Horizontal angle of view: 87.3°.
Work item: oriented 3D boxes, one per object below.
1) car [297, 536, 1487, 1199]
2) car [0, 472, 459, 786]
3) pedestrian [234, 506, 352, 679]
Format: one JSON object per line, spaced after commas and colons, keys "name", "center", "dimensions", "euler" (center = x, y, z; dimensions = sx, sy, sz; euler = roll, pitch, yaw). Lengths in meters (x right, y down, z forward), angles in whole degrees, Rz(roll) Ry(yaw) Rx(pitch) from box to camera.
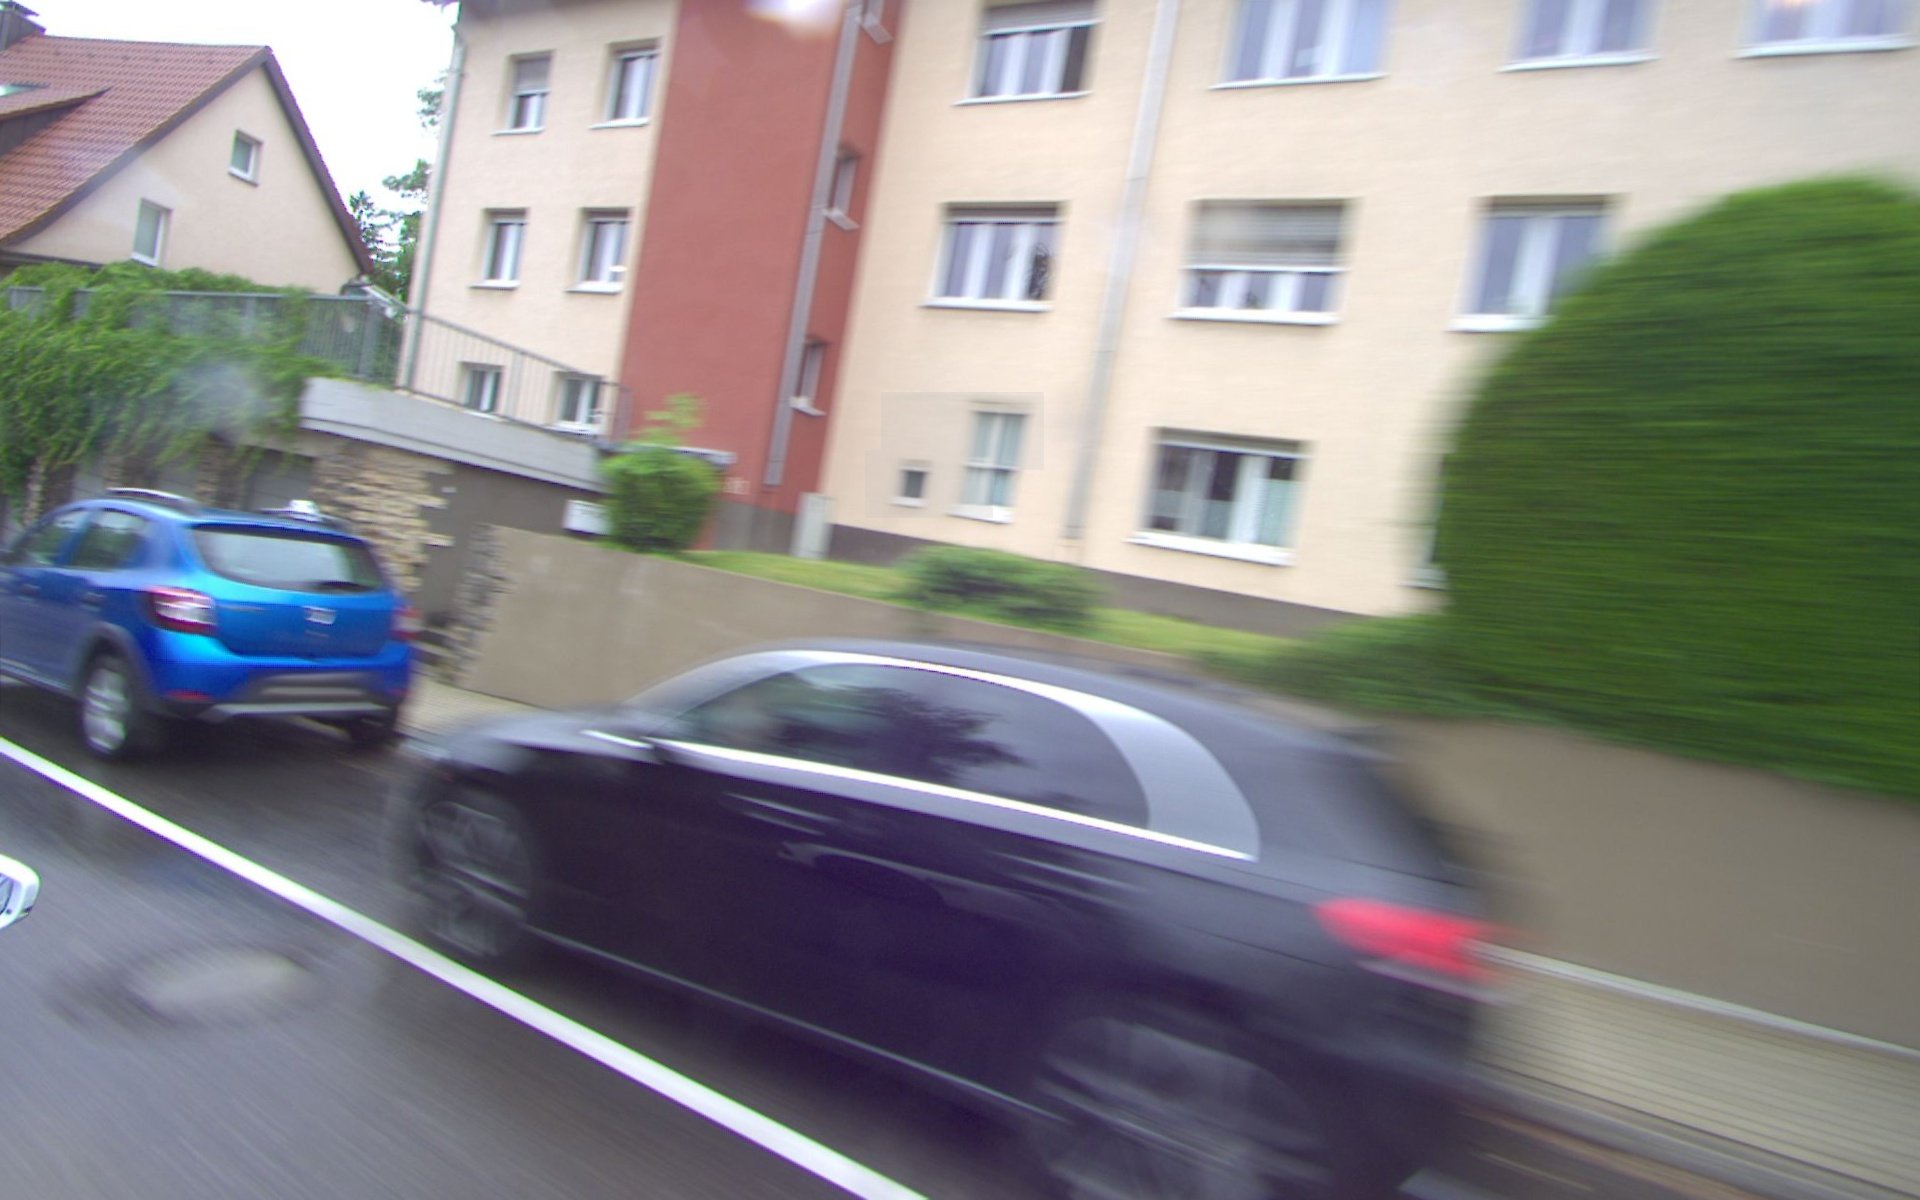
{"name": "car", "center": [-0.418, 0.770, 3.864], "dimensions": [4.180, 1.473, 1.692], "euler": [8, 0, 28]}
{"name": "car", "center": [-5.803, 0.045, 7.332], "dimensions": [4.182, 1.613, 1.736], "euler": [8, 0, 31]}
{"name": "pedestrian", "center": [-6.886, -0.071, 10.412], "dimensions": [0.603, 1.670, 0.621], "euler": [7, 0, 0]}
